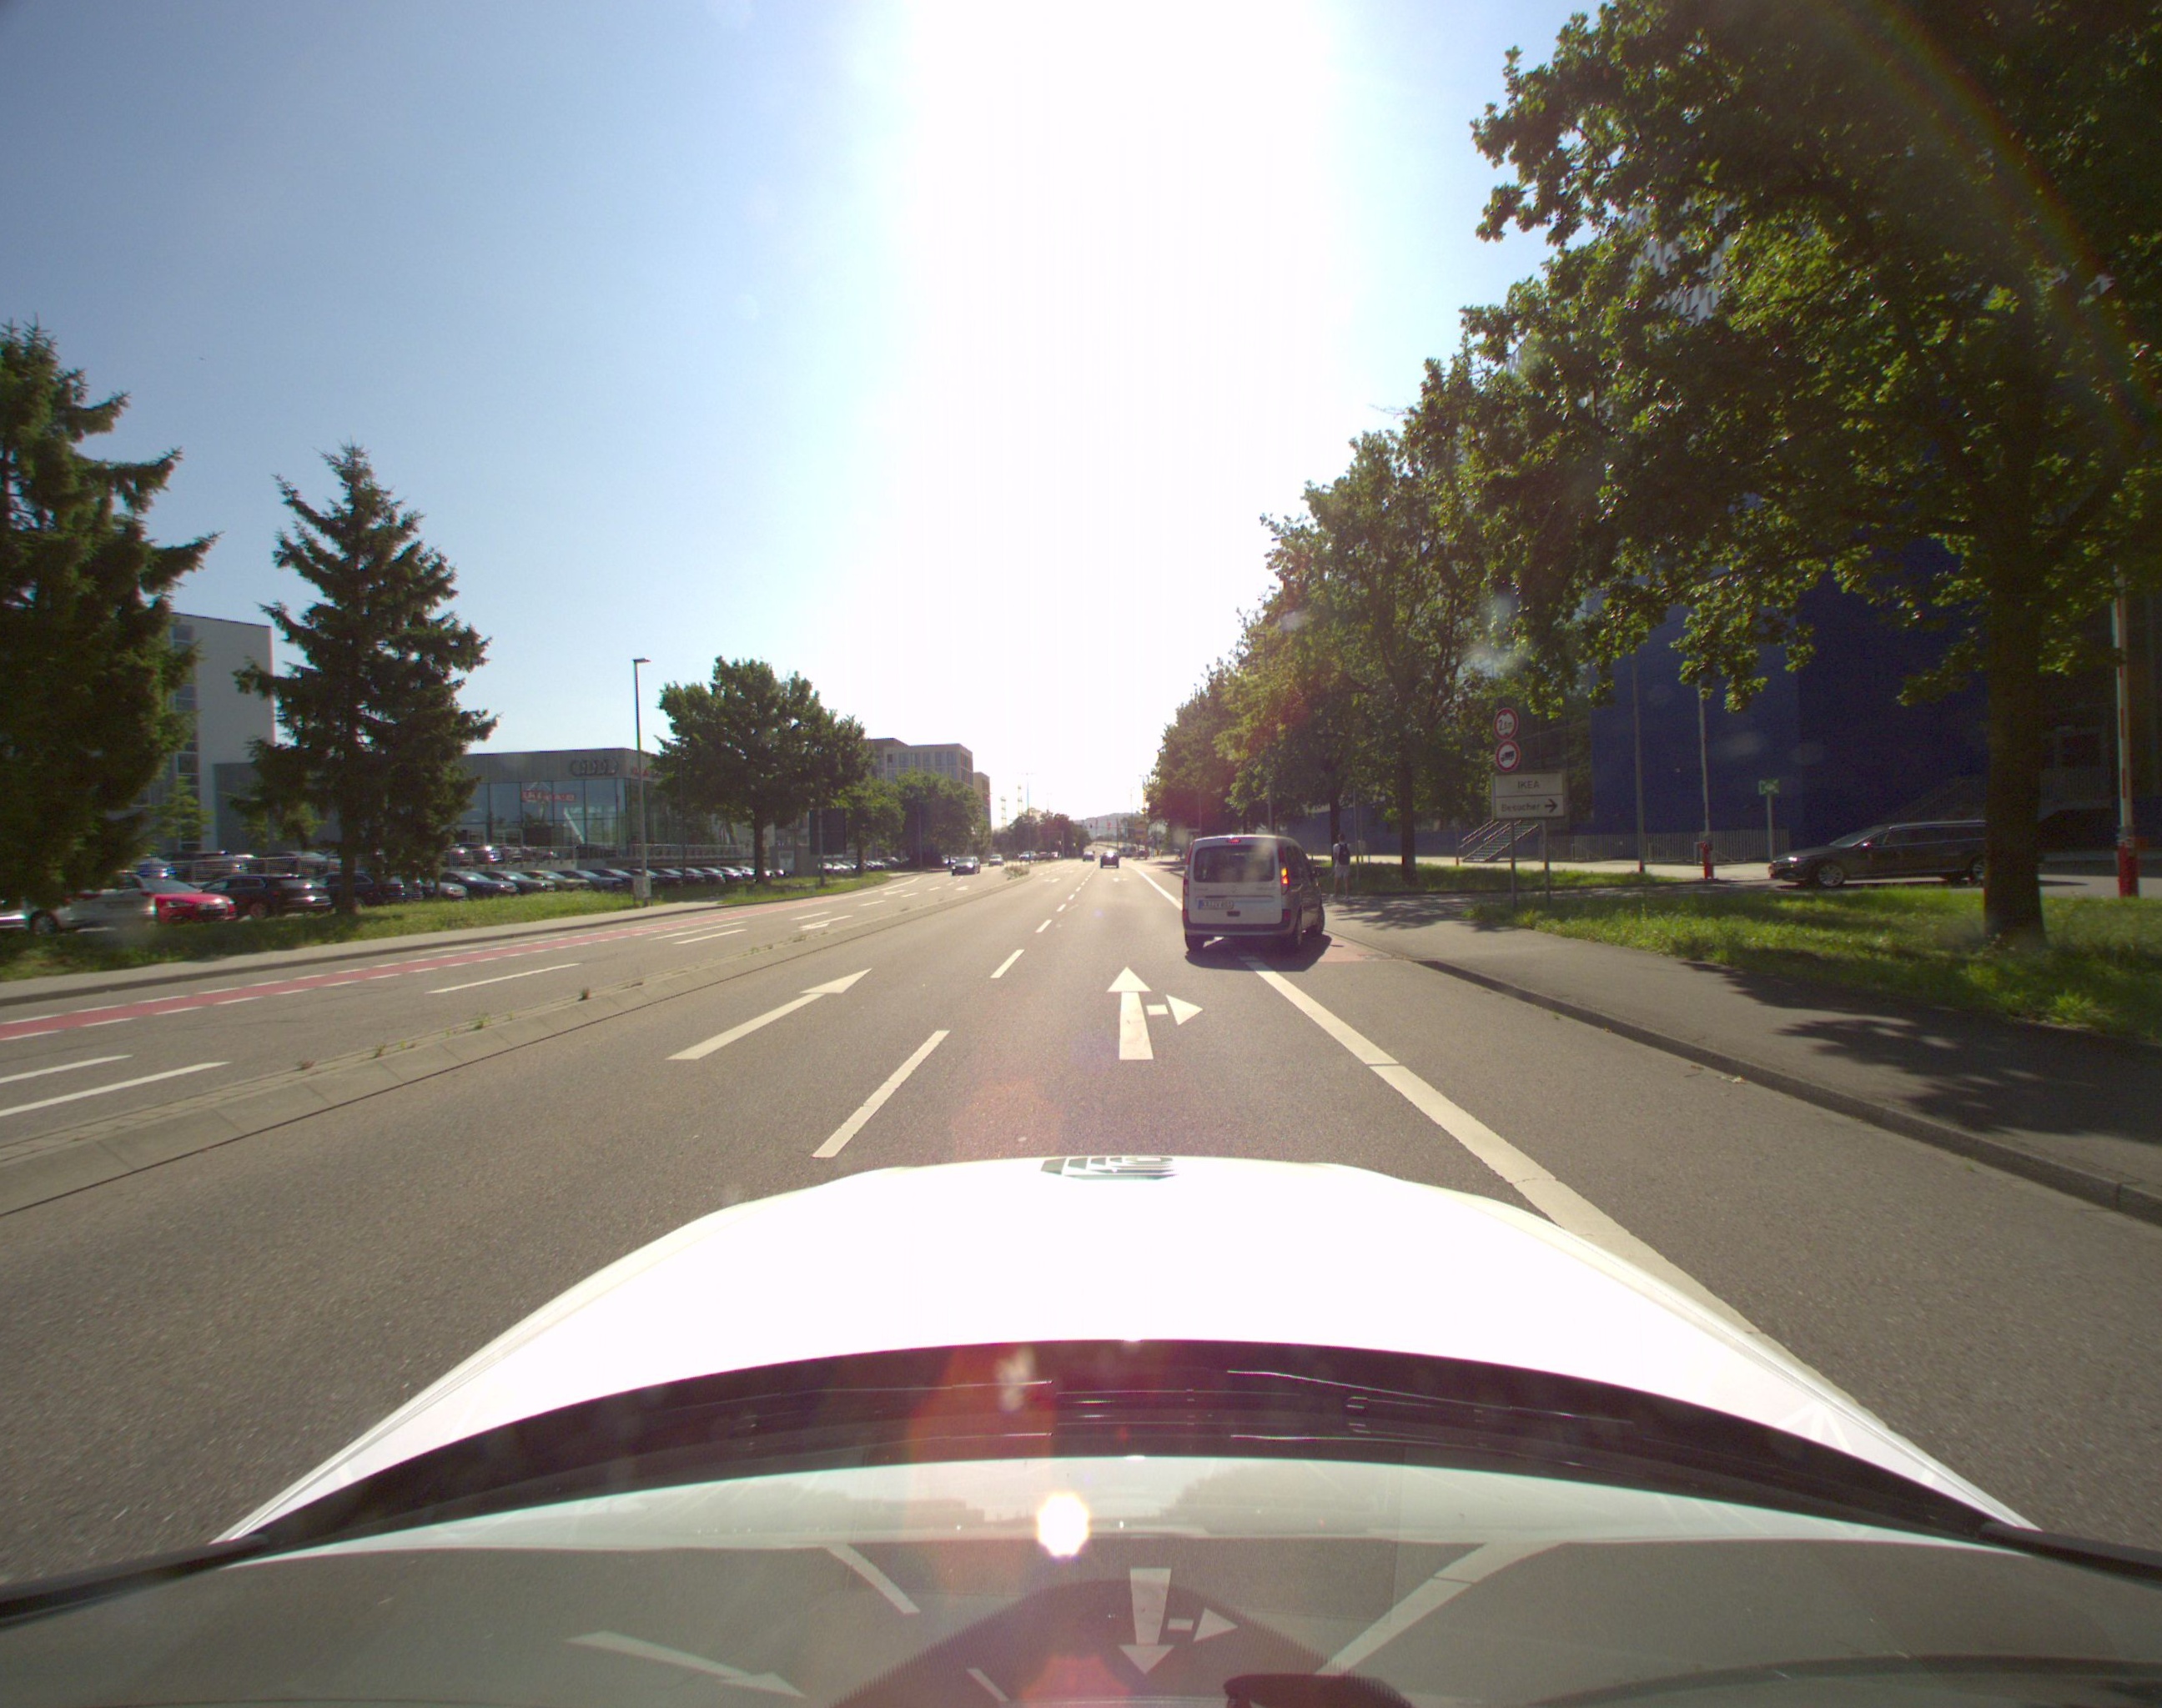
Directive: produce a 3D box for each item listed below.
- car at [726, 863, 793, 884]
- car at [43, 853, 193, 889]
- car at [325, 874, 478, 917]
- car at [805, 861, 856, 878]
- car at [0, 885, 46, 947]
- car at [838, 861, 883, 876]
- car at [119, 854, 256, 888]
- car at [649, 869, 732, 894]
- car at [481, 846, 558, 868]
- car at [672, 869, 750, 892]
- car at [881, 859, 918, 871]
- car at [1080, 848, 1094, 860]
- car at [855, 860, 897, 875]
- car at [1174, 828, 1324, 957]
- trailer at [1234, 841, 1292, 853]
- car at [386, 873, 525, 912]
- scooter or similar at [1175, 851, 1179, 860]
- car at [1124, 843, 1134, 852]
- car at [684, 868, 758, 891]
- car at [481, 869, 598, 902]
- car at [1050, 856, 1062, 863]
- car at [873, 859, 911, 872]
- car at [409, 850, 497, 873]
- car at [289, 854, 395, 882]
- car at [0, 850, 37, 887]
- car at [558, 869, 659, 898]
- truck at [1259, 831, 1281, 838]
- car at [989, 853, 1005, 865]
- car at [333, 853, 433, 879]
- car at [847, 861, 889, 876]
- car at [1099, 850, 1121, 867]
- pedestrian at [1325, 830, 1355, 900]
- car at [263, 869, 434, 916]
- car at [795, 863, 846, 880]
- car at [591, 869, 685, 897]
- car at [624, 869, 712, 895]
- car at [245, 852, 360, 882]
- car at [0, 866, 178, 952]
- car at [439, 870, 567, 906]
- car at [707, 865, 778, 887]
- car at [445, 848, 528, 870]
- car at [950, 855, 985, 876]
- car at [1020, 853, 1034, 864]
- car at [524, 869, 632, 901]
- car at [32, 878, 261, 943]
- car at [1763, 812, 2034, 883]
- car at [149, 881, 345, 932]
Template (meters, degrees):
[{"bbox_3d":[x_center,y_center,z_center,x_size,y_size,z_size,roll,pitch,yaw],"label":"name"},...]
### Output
[{"bbox_3d":[-24.301,1.485,61.595,4.246,1.350,1.956,-2,0,4],"label":"car"},{"bbox_3d":[-41.601,0.701,35.241,4.248,1.350,1.956,-2,0,3],"label":"car"},{"bbox_3d":[-25.752,1.559,30.948,4.246,1.350,1.956,-2,0,4],"label":"car"},{"bbox_3d":[-23.541,1.486,76.703,4.026,1.376,2.027,-2,0,2],"label":"car"},{"bbox_3d":[-25.219,1.419,17.442,4.068,1.293,1.746,-2,0,4],"label":"car"},{"bbox_3d":[-22.873,1.537,84.612,3.971,1.376,1.925,-2,0,2],"label":"car"},{"bbox_3d":[-41.219,0.753,37.632,4.248,1.350,1.956,-2,0,3],"label":"car"},{"bbox_3d":[-24.809,1.747,51.808,4.246,1.350,1.956,-2,0,4],"label":"car"},{"bbox_3d":[-40.648,0.214,59.022,4.248,1.350,1.956,-2,0,3],"label":"car"},{"bbox_3d":[-24.714,1.759,54.453,4.246,1.350,1.956,-2,0,4],"label":"car"},{"bbox_3d":[-22.161,1.336,99.718,3.971,1.376,1.925,-2,0,2],"label":"car"},{"bbox_3d":[1.052,-0.001,130.354,1.985,1.684,4.003,-2,0,3],"label":"car"},{"bbox_3d":[-22.456,1.458,89.379,3.971,1.376,1.925,-2,0,2],"label":"car"},{"bbox_3d":[3.007,0.549,13.836,1.890,1.829,4.201,-2,0,19],"label":"car"},{"bbox_3d":[38.622,-1.591,173.070,11.804,2.469,2.005,0,1,8],"label":"trailer"},{"bbox_3d":[-25.686,1.558,33.523,4.246,1.350,1.956,-2,0,4],"label":"car"},{"bbox_3d":[14.058,0.240,119.397,0.348,1.233,1.317,-3,0,16],"label":"scooter or similar"},{"bbox_3d":[9.765,-1.400,164.910,1.752,1.758,3.602,0,1,0],"label":"car"},{"bbox_3d":[-24.959,1.762,56.557,4.246,1.350,1.956,-2,0,4],"label":"car"},{"bbox_3d":[-25.667,1.485,38.705,4.246,1.350,1.956,-2,0,4],"label":"car"},{"bbox_3d":[-5.218,1.115,172.349,1.806,1.464,4.008,-3,0,7],"label":"car"},{"bbox_3d":[-22.377,1.400,96.505,3.971,1.376,1.925,-2,0,2],"label":"car"},{"bbox_3d":[-41.224,0.473,53.503,4.248,1.350,1.956,-2,0,3],"label":"car"},{"bbox_3d":[-41.530,0.769,45.819,4.248,1.350,1.956,-2,0,3],"label":"car"},{"bbox_3d":[-41.470,0.614,29.751,4.248,1.350,1.956,-2,0,3],"label":"car"},{"bbox_3d":[-25.371,1.579,43.801,4.246,1.350,1.956,-2,0,4],"label":"car"},{"bbox_3d":[54.166,-5.611,233.923,5.882,2.013,2.003,0,1,4],"label":"truck"},{"bbox_3d":[-10.817,0.633,104.730,1.648,1.464,3.550,-4,0,0],"label":"car"},{"bbox_3d":[-41.494,0.693,48.477,4.248,1.350,1.956,-2,0,3],"label":"car"},{"bbox_3d":[-22.737,1.519,87.011,3.971,1.376,1.925,-2,0,2],"label":"car"},{"bbox_3d":[2.937,0.432,81.585,1.798,1.640,4.466,-2,0,6],"label":"car"},{"bbox_3d":[6.963,0.287,21.886,0.533,1.841,0.728,-2,0,3],"label":"pedestrian"},{"bbox_3d":[-25.394,1.303,28.324,4.246,1.381,1.956,-2,0,4],"label":"car"},{"bbox_3d":[-23.626,1.587,74.013,3.971,1.376,1.867,-2,0,2],"label":"car"},{"bbox_3d":[-25.154,1.632,46.348,4.246,1.350,1.956,-2,0,4],"label":"car"},{"bbox_3d":[-24.916,1.692,49.229,4.246,1.350,1.956,-2,0,4],"label":"car"},{"bbox_3d":[-41.114,0.670,43.093,4.248,1.350,1.956,-2,0,3],"label":"car"},{"bbox_3d":[-25.312,1.346,19.980,4.246,1.884,1.956,-2,0,4],"label":"car"},{"bbox_3d":[-25.485,1.499,35.993,4.246,1.350,1.956,-2,0,4],"label":"car"},{"bbox_3d":[-24.590,1.575,59.251,4.246,1.350,1.956,-2,0,4],"label":"car"},{"bbox_3d":[-40.984,0.345,56.211,4.248,1.350,1.956,-2,0,3],"label":"car"},{"bbox_3d":[-9.336,0.926,67.142,1.834,1.463,5.003,-4,0,3],"label":"car"},{"bbox_3d":[-9.483,0.761,142.720,1.987,1.832,4.937,-2,0,0],"label":"car"},{"bbox_3d":[-25.411,1.551,41.219,4.246,1.350,1.956,-2,0,4],"label":"car"},{"bbox_3d":[-25.777,1.537,22.567,4.246,1.504,1.956,-2,0,4],"label":"car"},{"bbox_3d":[19.710,-0.117,19.962,4.317,1.520,1.924,-2,0,32],"label":"car"},{"bbox_3d":[-25.979,1.623,25.455,4.246,1.328,1.956,-2,0,4],"label":"car"}]
